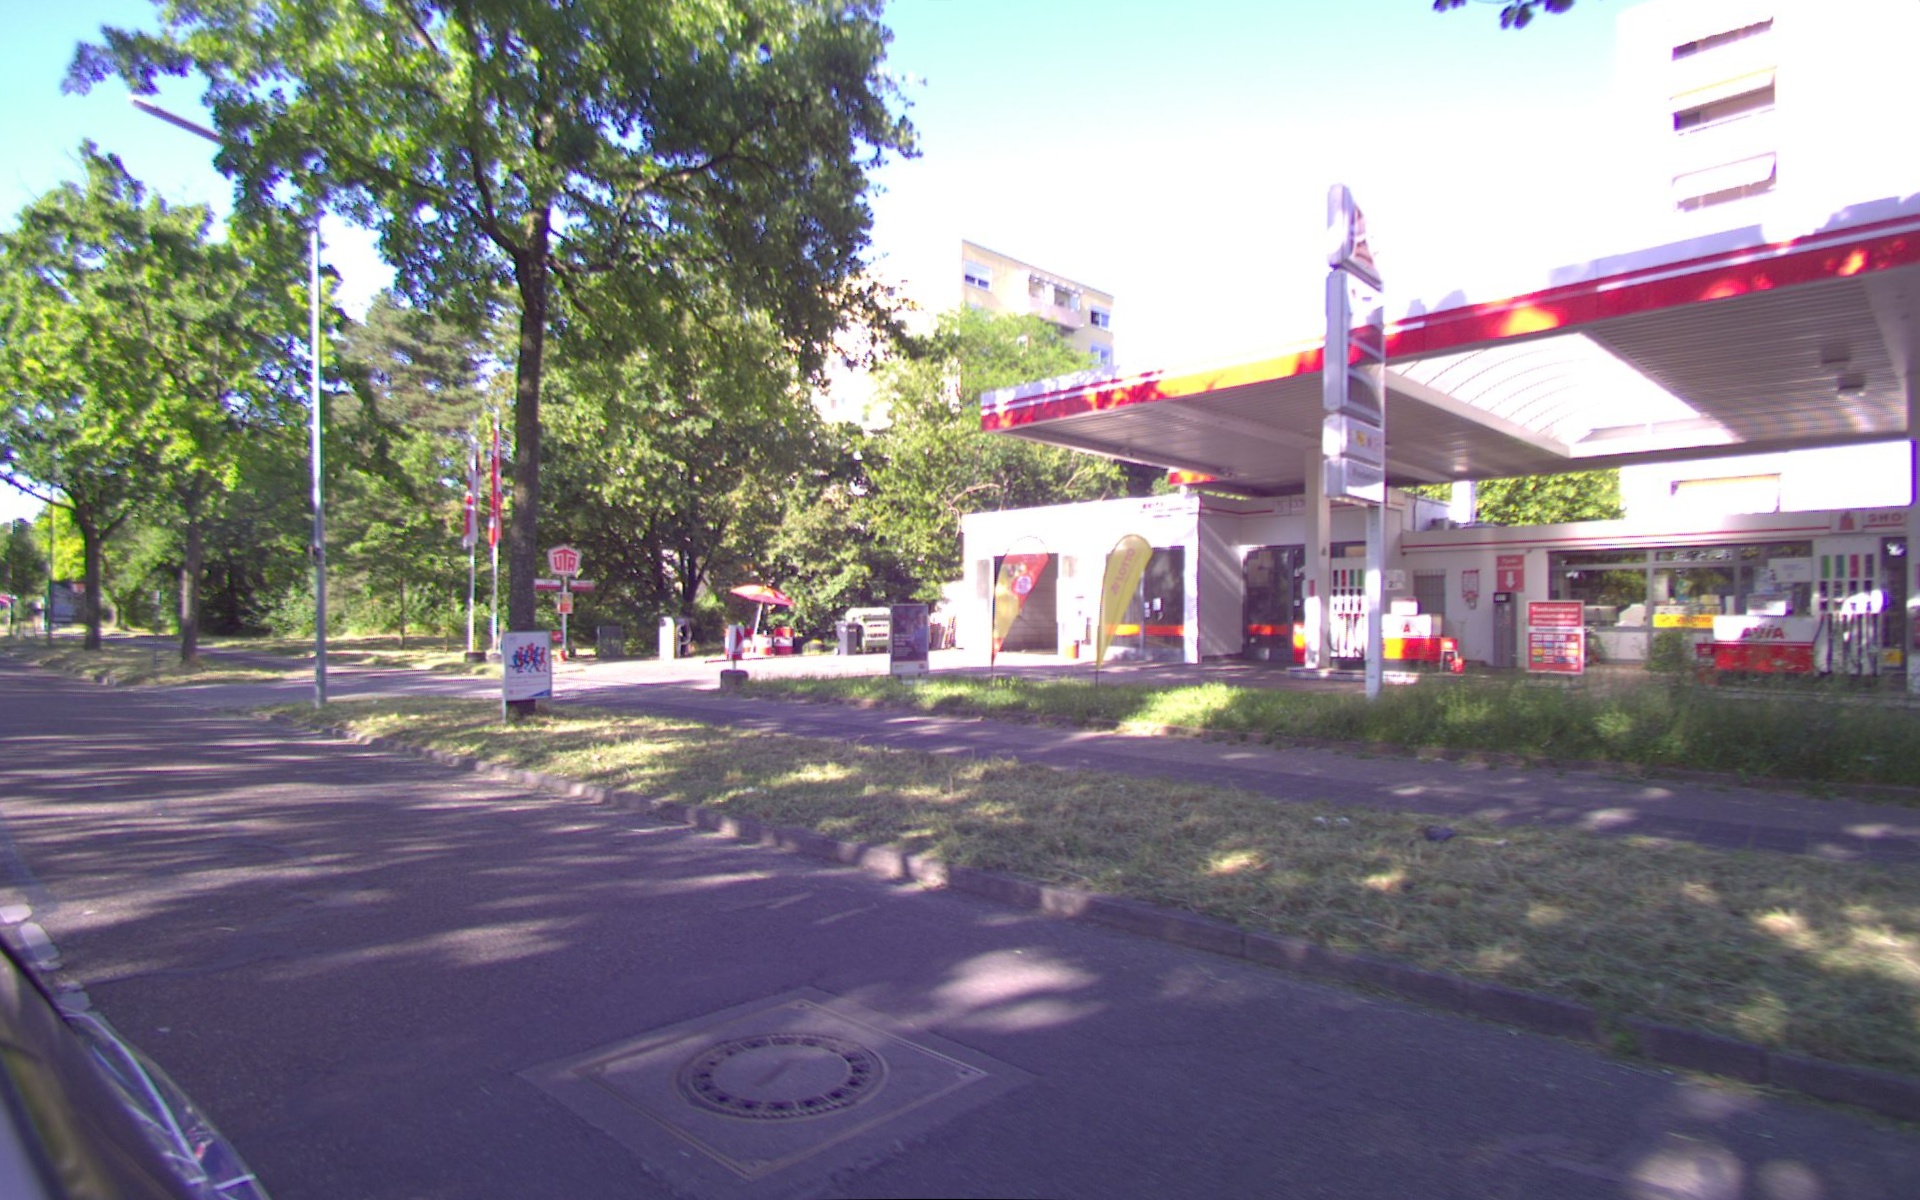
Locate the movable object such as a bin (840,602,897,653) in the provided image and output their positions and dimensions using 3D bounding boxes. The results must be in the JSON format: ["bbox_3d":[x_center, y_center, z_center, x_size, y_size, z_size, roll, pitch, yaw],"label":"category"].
[{"bbox_3d":[-2.910,0.862,32.128,1.267,1.553,1.290,-1,-2,41],"label":"movable object such as a bin"}]

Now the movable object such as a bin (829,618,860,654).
[{"bbox_3d":[-3.587,1.114,31.429,0.768,1.094,0.562,-1,-2,41],"label":"movable object such as a bin"}]

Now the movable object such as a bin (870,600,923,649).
[{"bbox_3d":[-2.079,0.795,33.054,1.163,1.553,1.290,-1,0,41],"label":"movable object such as a bin"}]
